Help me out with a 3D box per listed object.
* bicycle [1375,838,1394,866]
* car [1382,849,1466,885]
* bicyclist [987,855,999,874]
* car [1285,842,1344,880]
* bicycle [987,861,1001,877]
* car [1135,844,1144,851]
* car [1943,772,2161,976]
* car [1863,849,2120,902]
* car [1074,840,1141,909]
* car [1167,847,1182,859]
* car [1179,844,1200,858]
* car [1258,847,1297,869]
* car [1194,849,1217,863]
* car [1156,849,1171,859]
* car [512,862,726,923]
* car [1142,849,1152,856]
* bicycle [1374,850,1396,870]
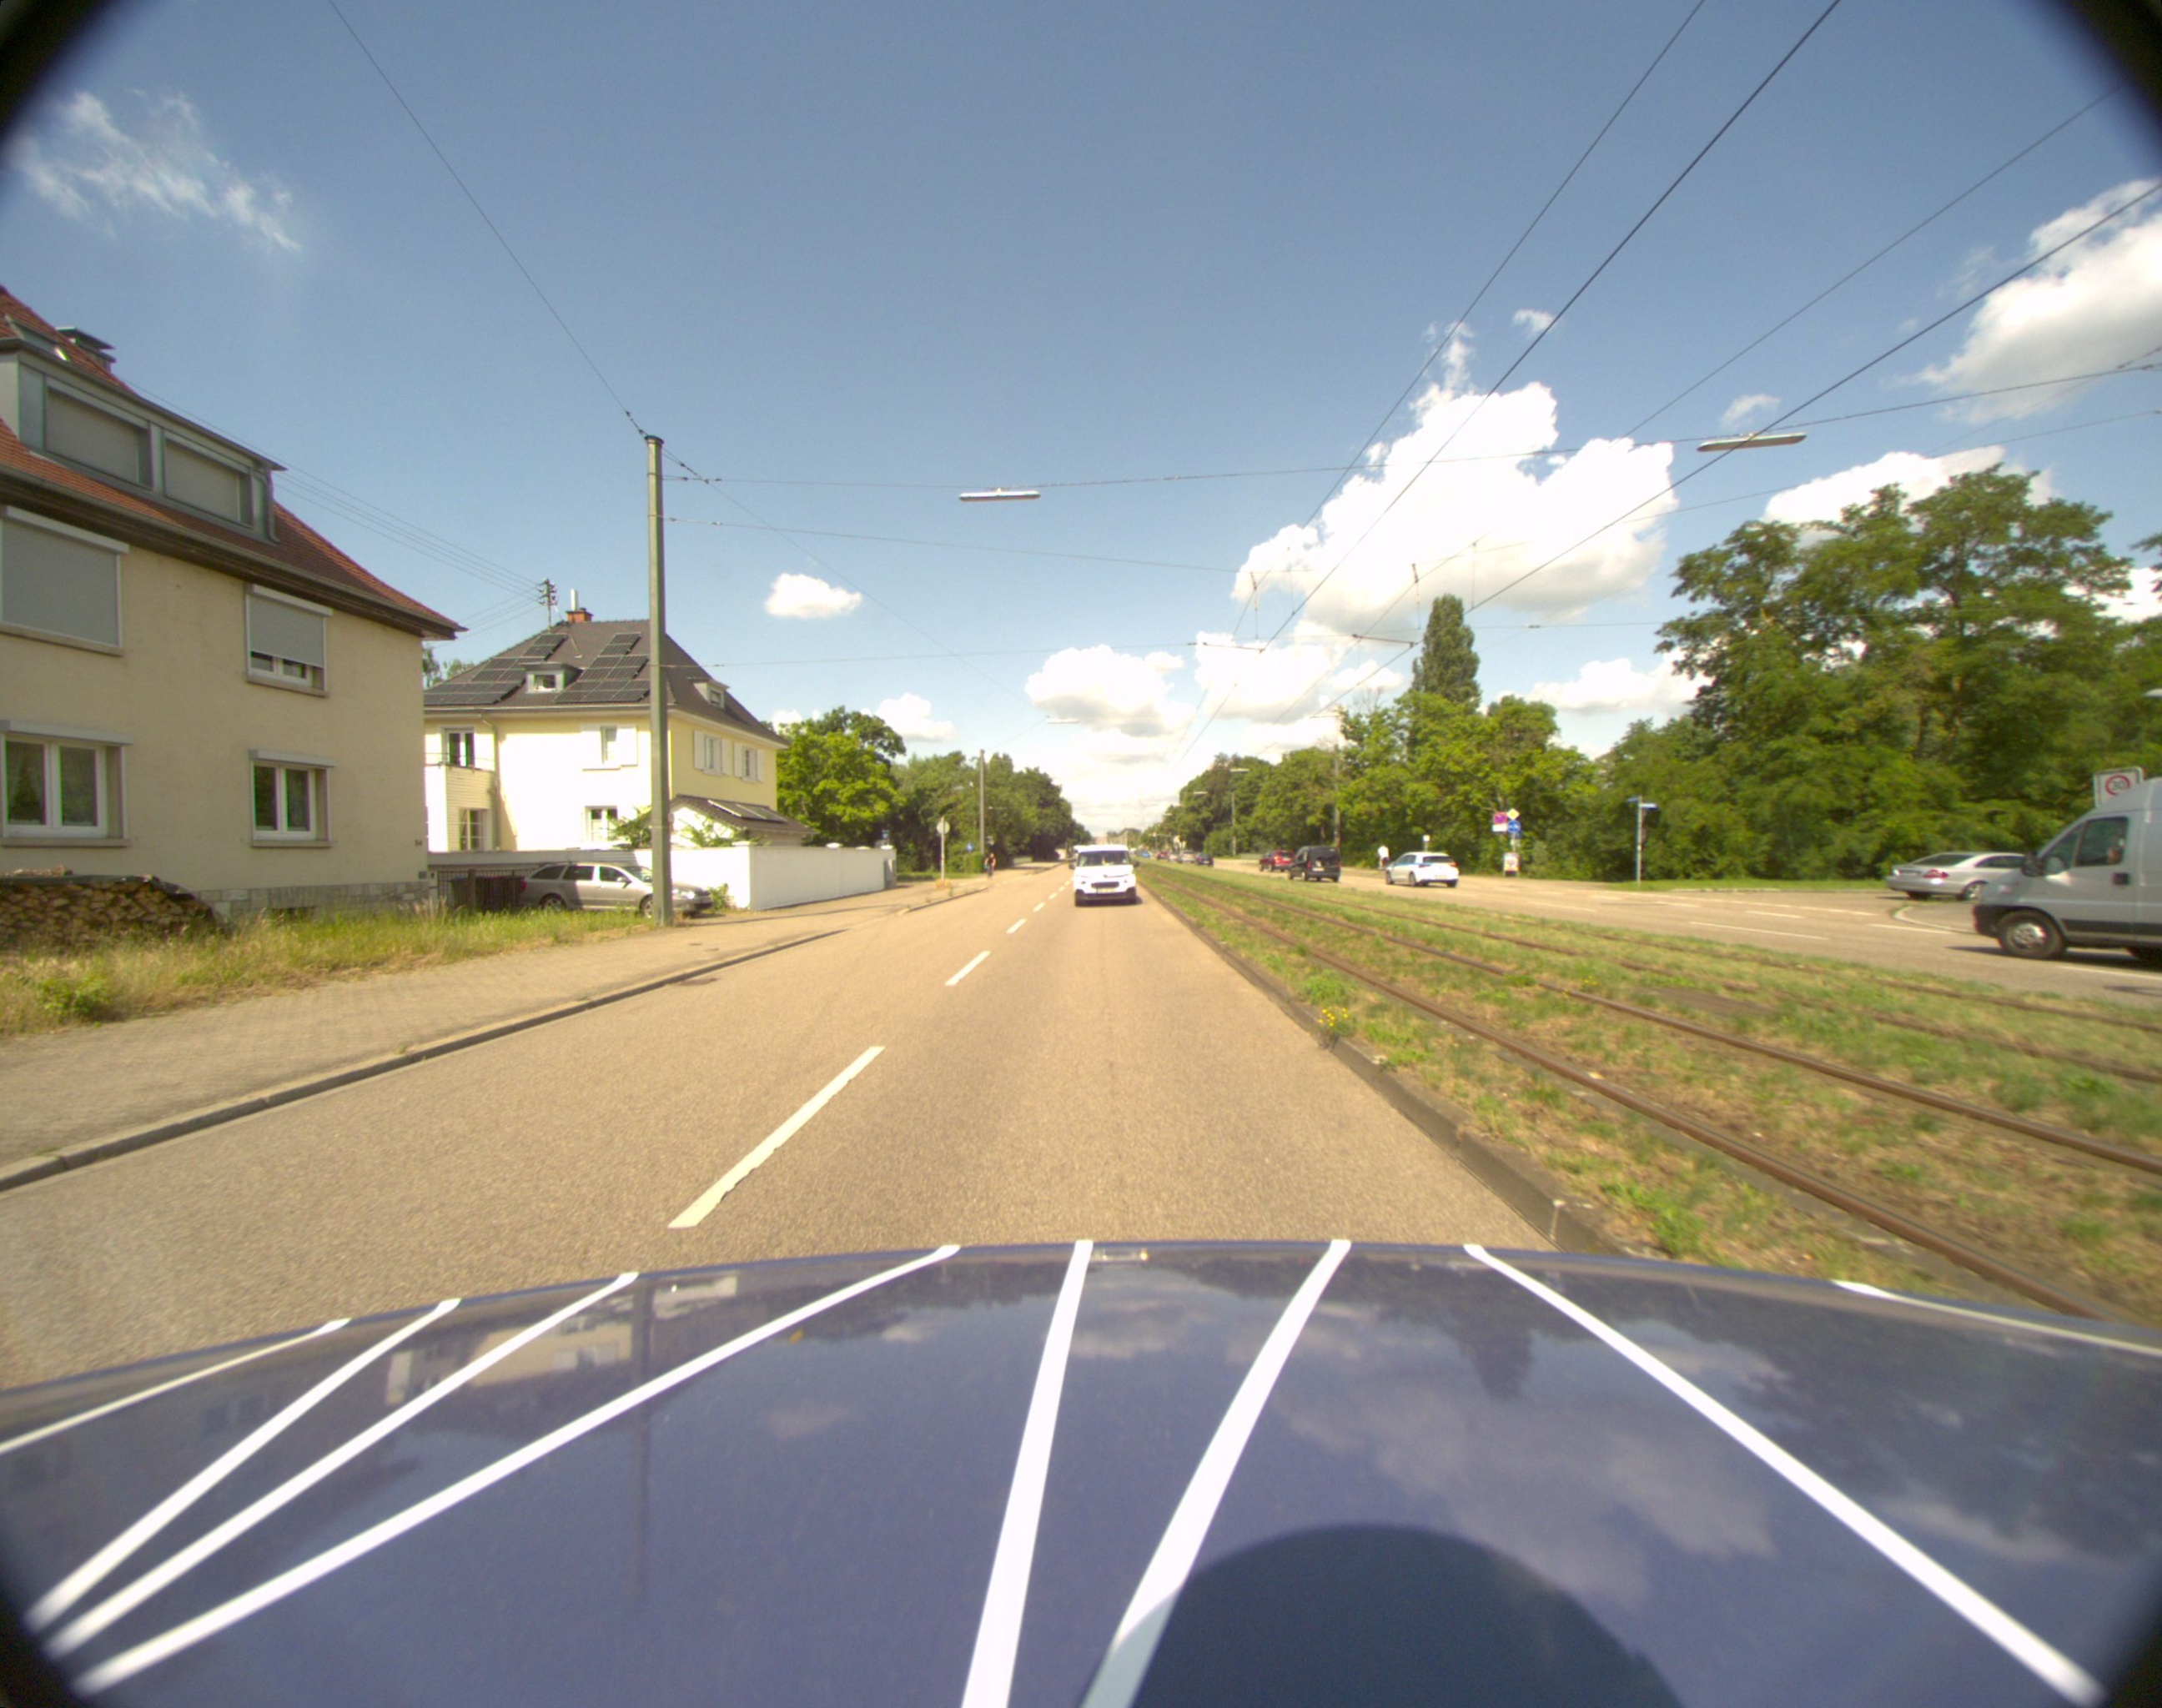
[{"bbox_3d":[18.781,-0.140,47.031,0.801,1.675,0.952,-1,1,1],"label":"bicycle"},{"bbox_3d":[14.481,0.511,32.359,1.689,1.422,4.276,-1,0,1],"label":"car"},{"bbox_3d":[-6.101,0.716,52.758,0.690,1.345,0.665,-1,1,7],"label":"bicyclist"},{"bbox_3d":[11.427,0.318,37.459,1.689,1.736,4.227,-1,0,1],"label":"car"},{"bbox_3d":[-6.056,1.060,52.912,0.556,1.059,1.524,-1,1,8],"label":"bicycle"},{"bbox_3d":[15.882,-1.769,206.348,1.999,2.002,3.999,-2,1,0],"label":"car"},{"bbox_3d":[13.844,0.256,8.381,2.037,2.422,5.777,1,0,0],"label":"car"},{"bbox_3d":[25.617,0.597,21.559,4.466,1.397,2.001,-1,1,9],"label":"car"},{"bbox_3d":[0.718,0.554,23.156,1.777,1.850,4.374,-2,1,-1],"label":"car"},{"bbox_3d":[13.828,-0.182,112.647,1.921,1.642,4.277,-1,0,2],"label":"car"},{"bbox_3d":[13.288,-0.353,93.381,2.121,1.642,4.277,-1,0,2],"label":"car"},{"bbox_3d":[14.468,0.259,56.118,1.731,1.570,4.276,-1,0,0],"label":"car"},{"bbox_3d":[12.432,0.172,76.207,1.731,1.386,4.277,-1,0,2],"label":"car"},{"bbox_3d":[14.290,0.026,131.741,2.121,1.642,4.277,-1,0,2],"label":"car"},{"bbox_3d":[-11.840,0.953,19.660,4.459,1.452,1.763,0,1,1],"label":"car"},{"bbox_3d":[15.689,-0.288,179.676,2.121,1.642,4.277,-1,0,2],"label":"car"},{"bbox_3d":[18.783,0.361,47.033,0.643,1.181,1.957,-1,1,2],"label":"bicycle"}]
